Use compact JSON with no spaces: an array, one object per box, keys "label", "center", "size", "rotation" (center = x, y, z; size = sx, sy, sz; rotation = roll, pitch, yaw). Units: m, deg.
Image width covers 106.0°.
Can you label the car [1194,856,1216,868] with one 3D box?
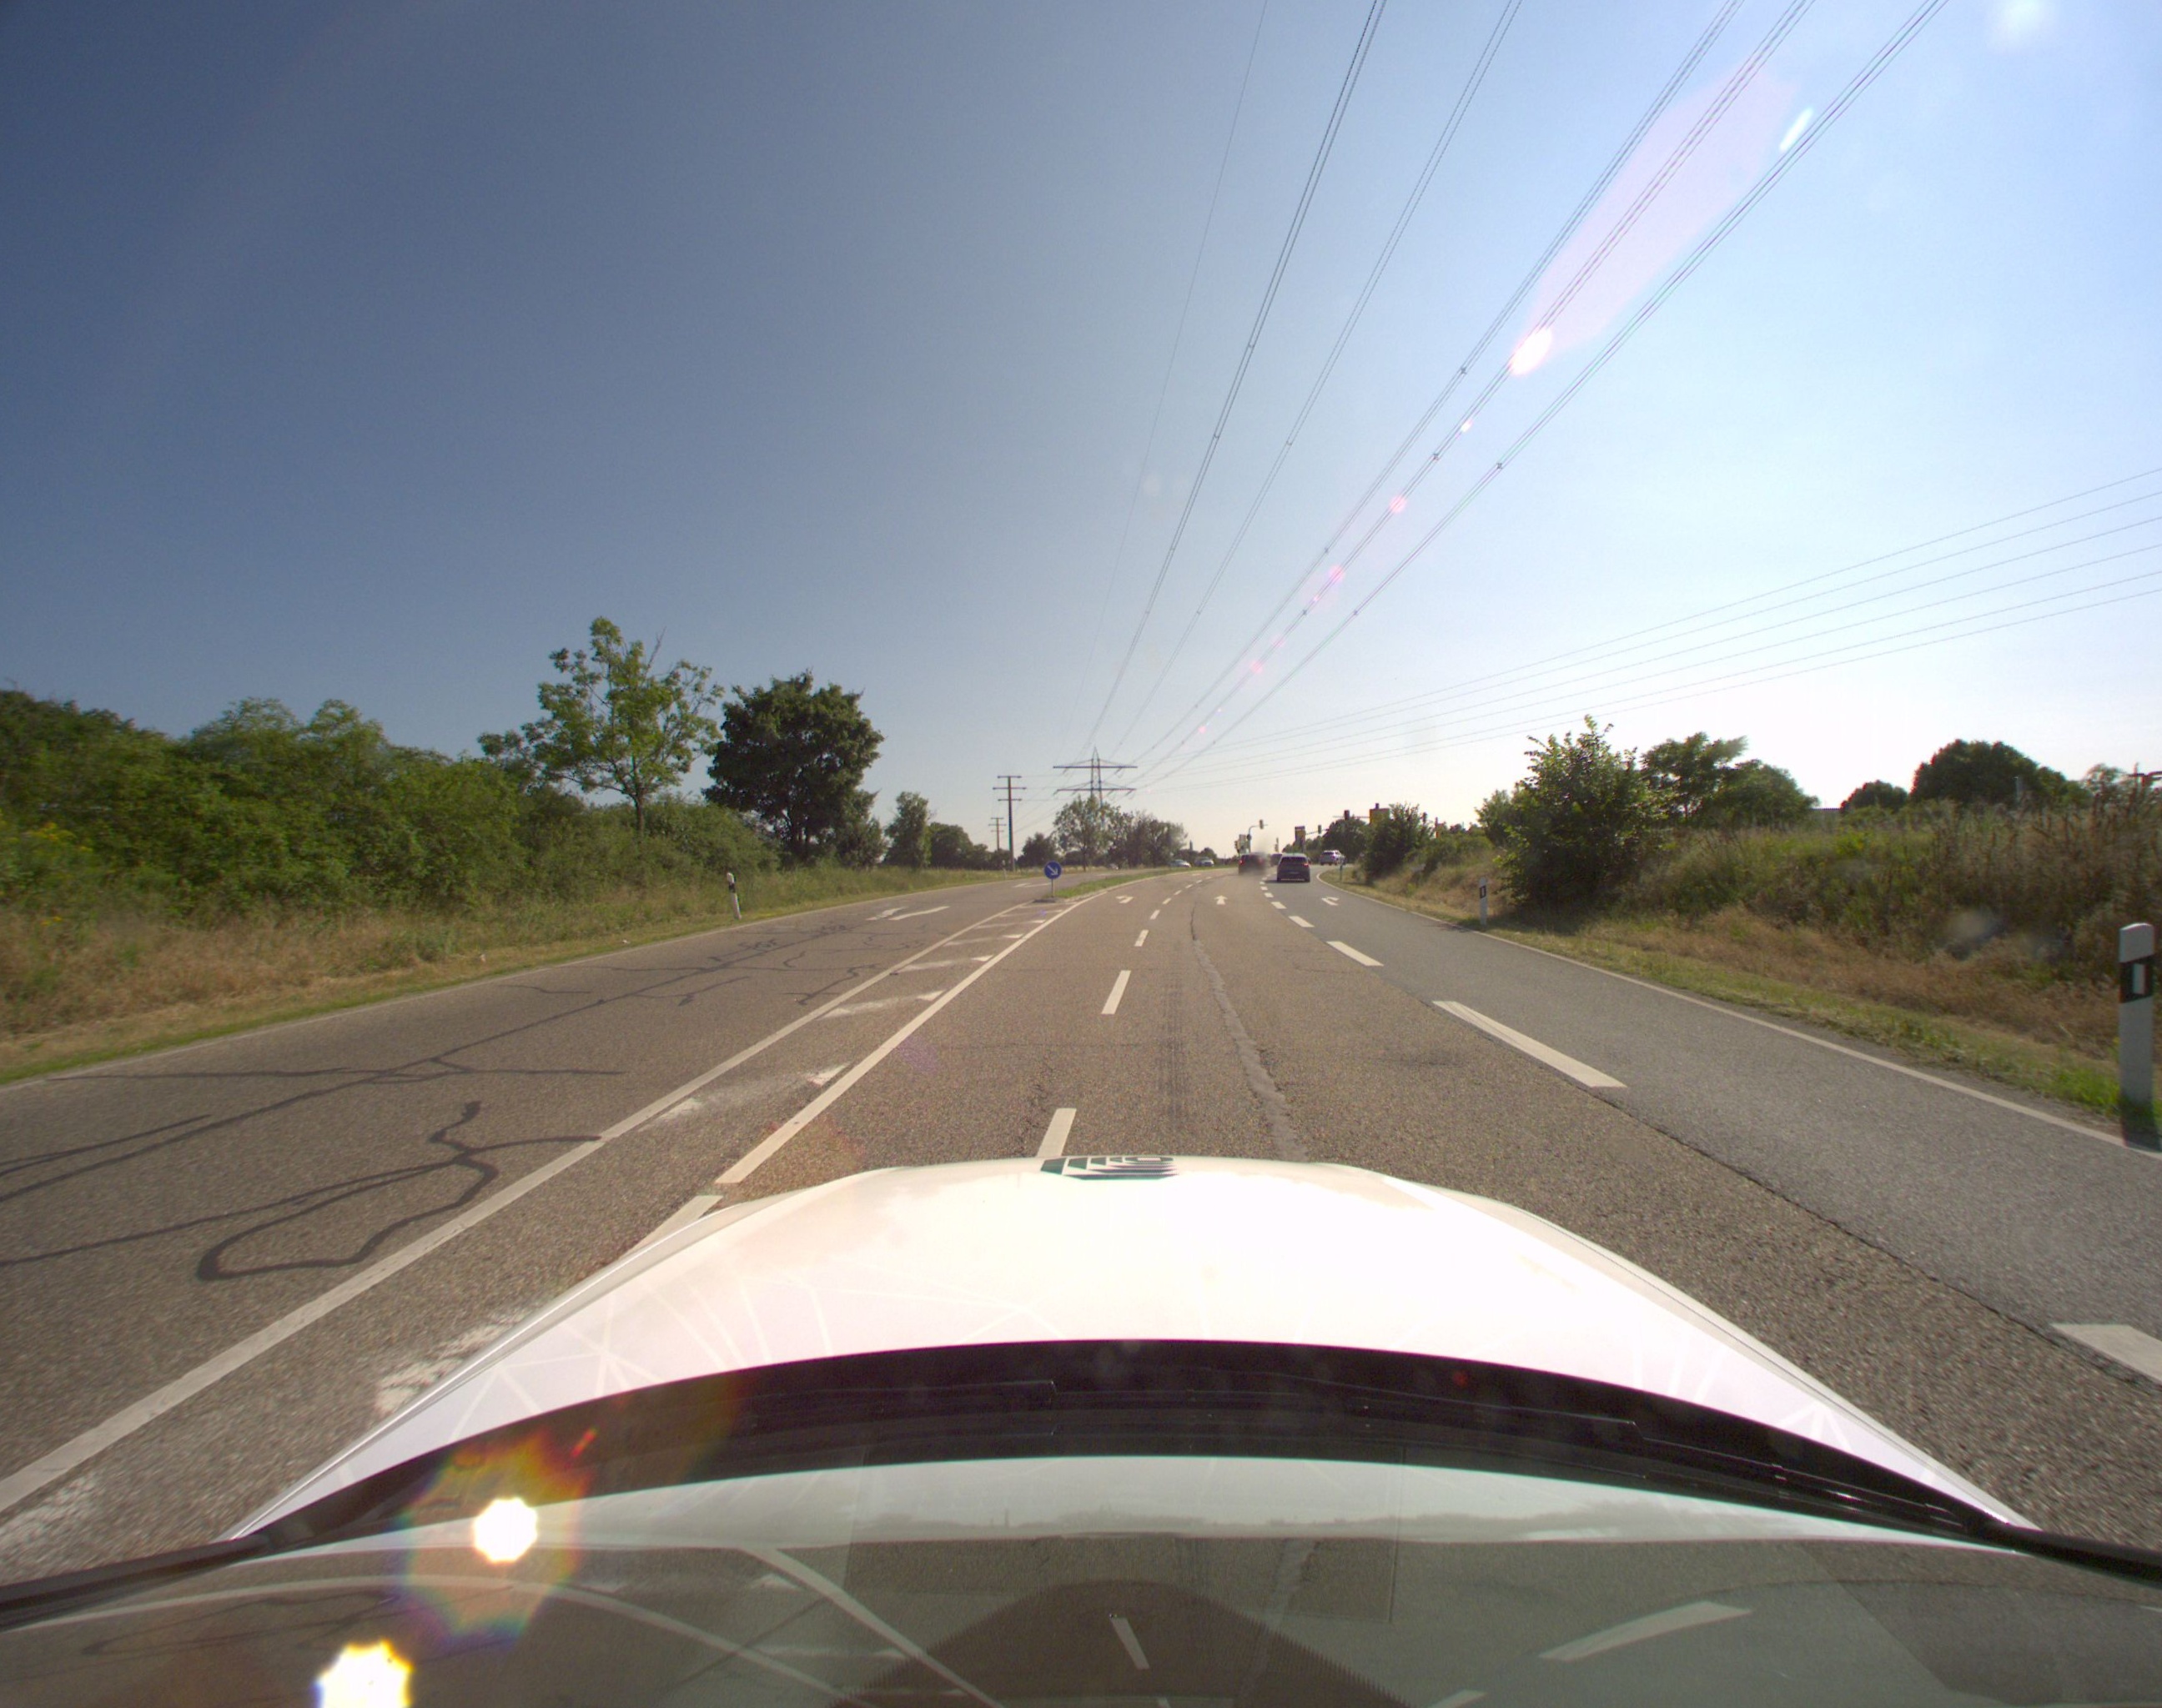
[{"label":"car","center":[17.536,1.136,115.334],"size":[1.814,1.651,3.986],"rotation":[-1,-1,-10]}]

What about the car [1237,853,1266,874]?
[{"label":"car","center":[11.798,0.644,56.244],"size":[1.620,1.448,3.309],"rotation":[-1,0,17]}]

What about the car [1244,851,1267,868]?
[{"label":"car","center":[16.938,0.546,78.806],"size":[1.727,1.568,3.642],"rotation":[1,0,19]}]

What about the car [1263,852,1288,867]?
[{"label":"car","center":[20.804,0.581,86.985],"size":[1.726,1.569,3.646],"rotation":[0,-1,27]}]

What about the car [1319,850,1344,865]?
[{"label":"car","center":[27.838,0.368,90.489],"size":[1.617,1.677,3.773],"rotation":[-1,-1,33]}]

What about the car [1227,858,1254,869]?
[{"label":"car","center":[24.317,1.449,124.191],"size":[1.828,1.651,3.956],"rotation":[0,-2,-35]}]

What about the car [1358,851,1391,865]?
[{"label":"car","center":[31.135,0.407,86.292],"size":[4.023,1.386,1.626],"rotation":[-2,-1,-44]}]

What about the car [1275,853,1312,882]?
[{"label":"car","center":[11.643,0.701,44.772],"size":[1.761,1.517,4.113],"rotation":[1,0,12]}]

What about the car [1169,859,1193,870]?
[{"label":"car","center":[15.233,1.636,123.709],"size":[1.823,1.651,3.968],"rotation":[-1,-1,-24]}]
